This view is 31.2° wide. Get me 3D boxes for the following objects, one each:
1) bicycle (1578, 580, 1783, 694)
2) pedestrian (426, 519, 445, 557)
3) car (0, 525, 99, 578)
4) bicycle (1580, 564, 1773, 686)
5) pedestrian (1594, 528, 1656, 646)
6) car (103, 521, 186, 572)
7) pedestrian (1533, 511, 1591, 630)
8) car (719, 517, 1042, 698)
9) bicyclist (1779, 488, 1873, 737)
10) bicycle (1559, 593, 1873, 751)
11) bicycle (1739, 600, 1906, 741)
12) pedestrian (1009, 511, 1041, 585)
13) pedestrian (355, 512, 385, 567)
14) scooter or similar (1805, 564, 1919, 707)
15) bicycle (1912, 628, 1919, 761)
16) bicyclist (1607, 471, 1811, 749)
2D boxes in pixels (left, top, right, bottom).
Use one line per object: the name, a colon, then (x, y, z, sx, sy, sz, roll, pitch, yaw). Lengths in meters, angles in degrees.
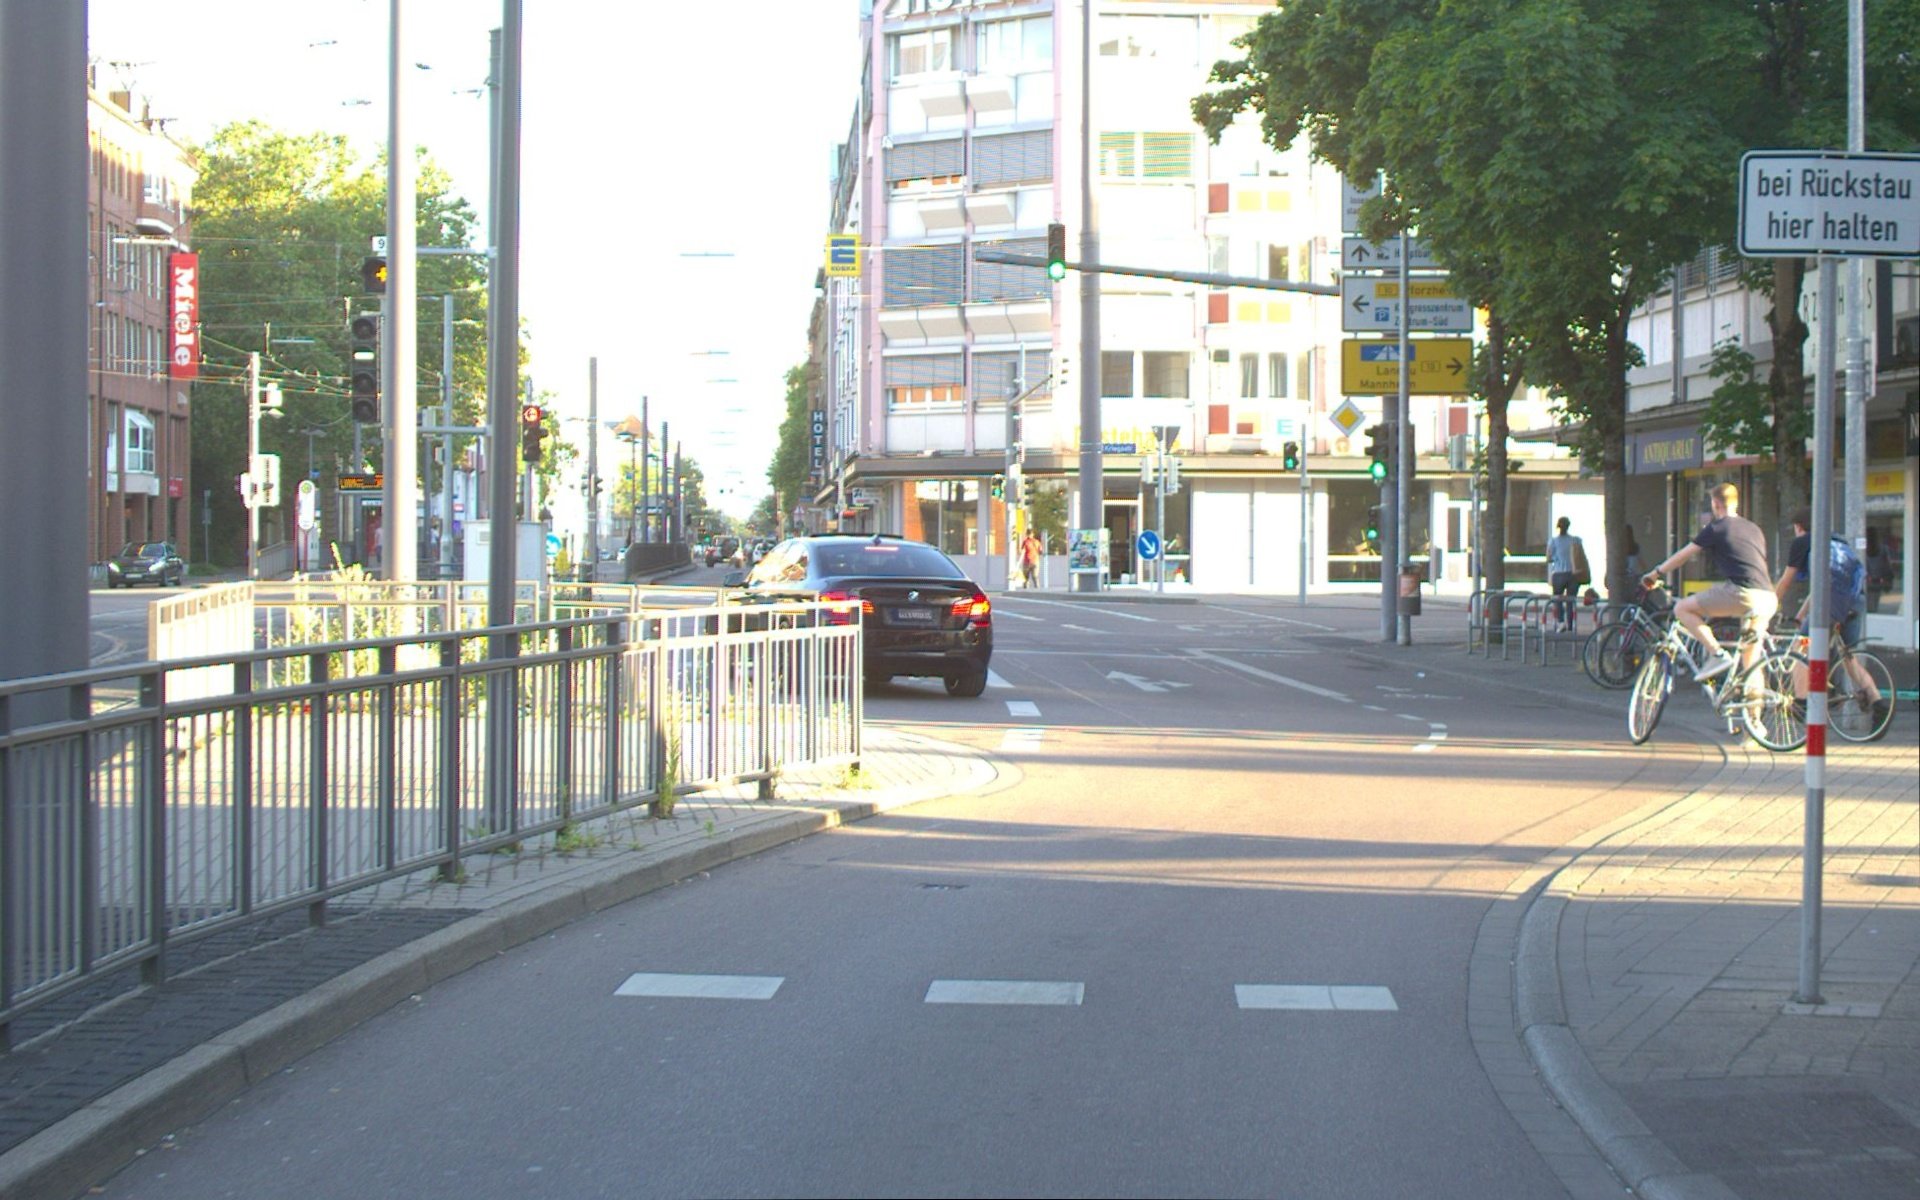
bicycle: (7.270, 0.369, 34.758, 1.997, 1.107, 0.668, 1, 1, 10)
pedestrian: (-23.342, -2.765, 153.094, 0.723, 1.675, 0.991, 0, 1, -1)
car: (-25.188, -1.353, 94.793, 1.669, 1.443, 4.202, 0, 1, 2)
bicycle: (7.431, 0.254, 35.723, 1.905, 1.231, 0.668, 1, 1, 8)
pedestrian: (9.383, -0.189, 48.510, 0.723, 1.661, 0.671, 0, 1, 0)
car: (-26.130, -1.736, 110.247, 1.993, 1.579, 4.480, 0, 1, -6)
pedestrian: (8.446, -0.414, 48.246, 0.684, 1.661, 0.671, 0, 1, 0)
car: (-0.816, 0.009, 32.222, 1.993, 1.579, 4.001, 0, 1, -17)
bicyclist: (6.406, 0.085, 25.445, 0.464, 1.824, 0.559, 0, 1, -11)
bicycle: (5.317, 0.486, 24.279, 0.838, 1.016, 2.077, -1, 2, -40)
bicycle: (6.383, 0.506, 25.520, 0.464, 0.967, 1.801, 0, 1, -11)
pedestrian: (1.617, -1.292, 85.331, 0.684, 1.848, 0.671, 0, 1, -7)
pedestrian: (-21.986, -2.250, 128.120, 0.987, 2.007, 0.726, 2, 1, -4)
scooter or similar: (8.134, 0.303, 30.355, 1.277, 1.231, 0.338, 1, 2, 39)
bicycle: (7.430, 0.644, 22.930, 2.008, 0.878, 0.839, 1, 1, 21)
bicyclist: (5.287, 0.054, 24.299, 0.838, 1.910, 1.114, -1, 2, -40)
